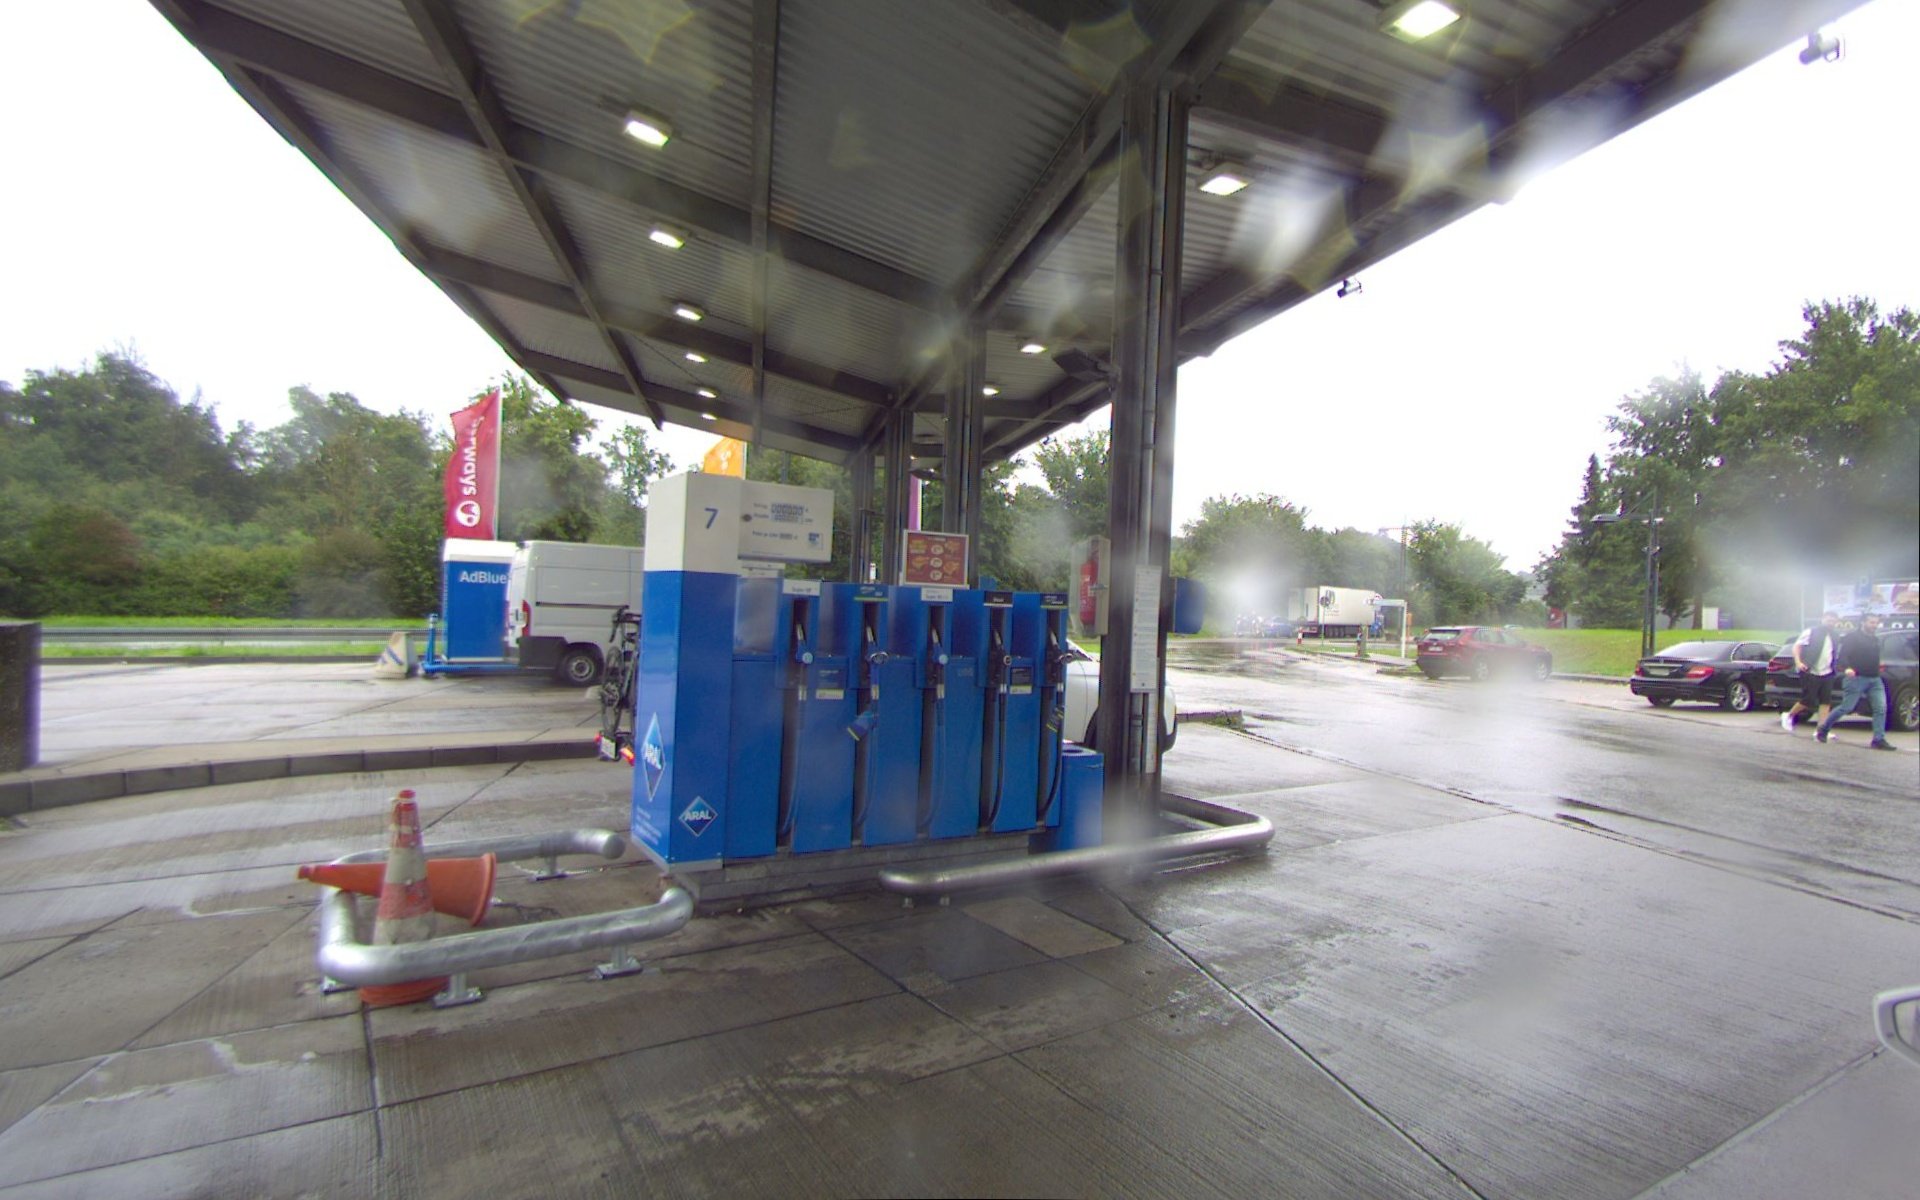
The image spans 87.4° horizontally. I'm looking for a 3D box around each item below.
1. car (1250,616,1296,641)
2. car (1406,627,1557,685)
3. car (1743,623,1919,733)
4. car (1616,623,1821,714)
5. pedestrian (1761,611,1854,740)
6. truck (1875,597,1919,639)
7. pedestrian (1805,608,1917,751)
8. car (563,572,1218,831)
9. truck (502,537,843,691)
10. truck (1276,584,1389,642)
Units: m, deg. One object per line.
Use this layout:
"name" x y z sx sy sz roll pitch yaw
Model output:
"car" 22.911 2.067 73.434 1.787 1.704 3.934 2 0 40
"car" 16.084 1.674 30.999 4.283 1.666 1.933 1 -2 -25
"car" 16.180 1.275 17.465 4.274 1.734 2.016 1 -1 -18
"car" 15.949 1.361 21.087 4.293 1.734 2.007 1 -2 -31
"pedestrian" 13.148 1.142 15.614 0.690 1.912 0.954 2 0 13
"truck" 68.862 1.329 71.698 5.285 2.959 2.191 2 0 -5
"pedestrian" 12.590 1.082 14.059 0.691 1.912 0.893 2 0 -6
"car" -0.418 0.704 8.455 5.210 1.629 1.852 2 0 -30
"truck" -5.330 0.296 18.937 5.793 2.527 2.221 2 0 -30
"truck" 31.886 1.191 85.148 3.498 4.397 16.922 2 0 40
